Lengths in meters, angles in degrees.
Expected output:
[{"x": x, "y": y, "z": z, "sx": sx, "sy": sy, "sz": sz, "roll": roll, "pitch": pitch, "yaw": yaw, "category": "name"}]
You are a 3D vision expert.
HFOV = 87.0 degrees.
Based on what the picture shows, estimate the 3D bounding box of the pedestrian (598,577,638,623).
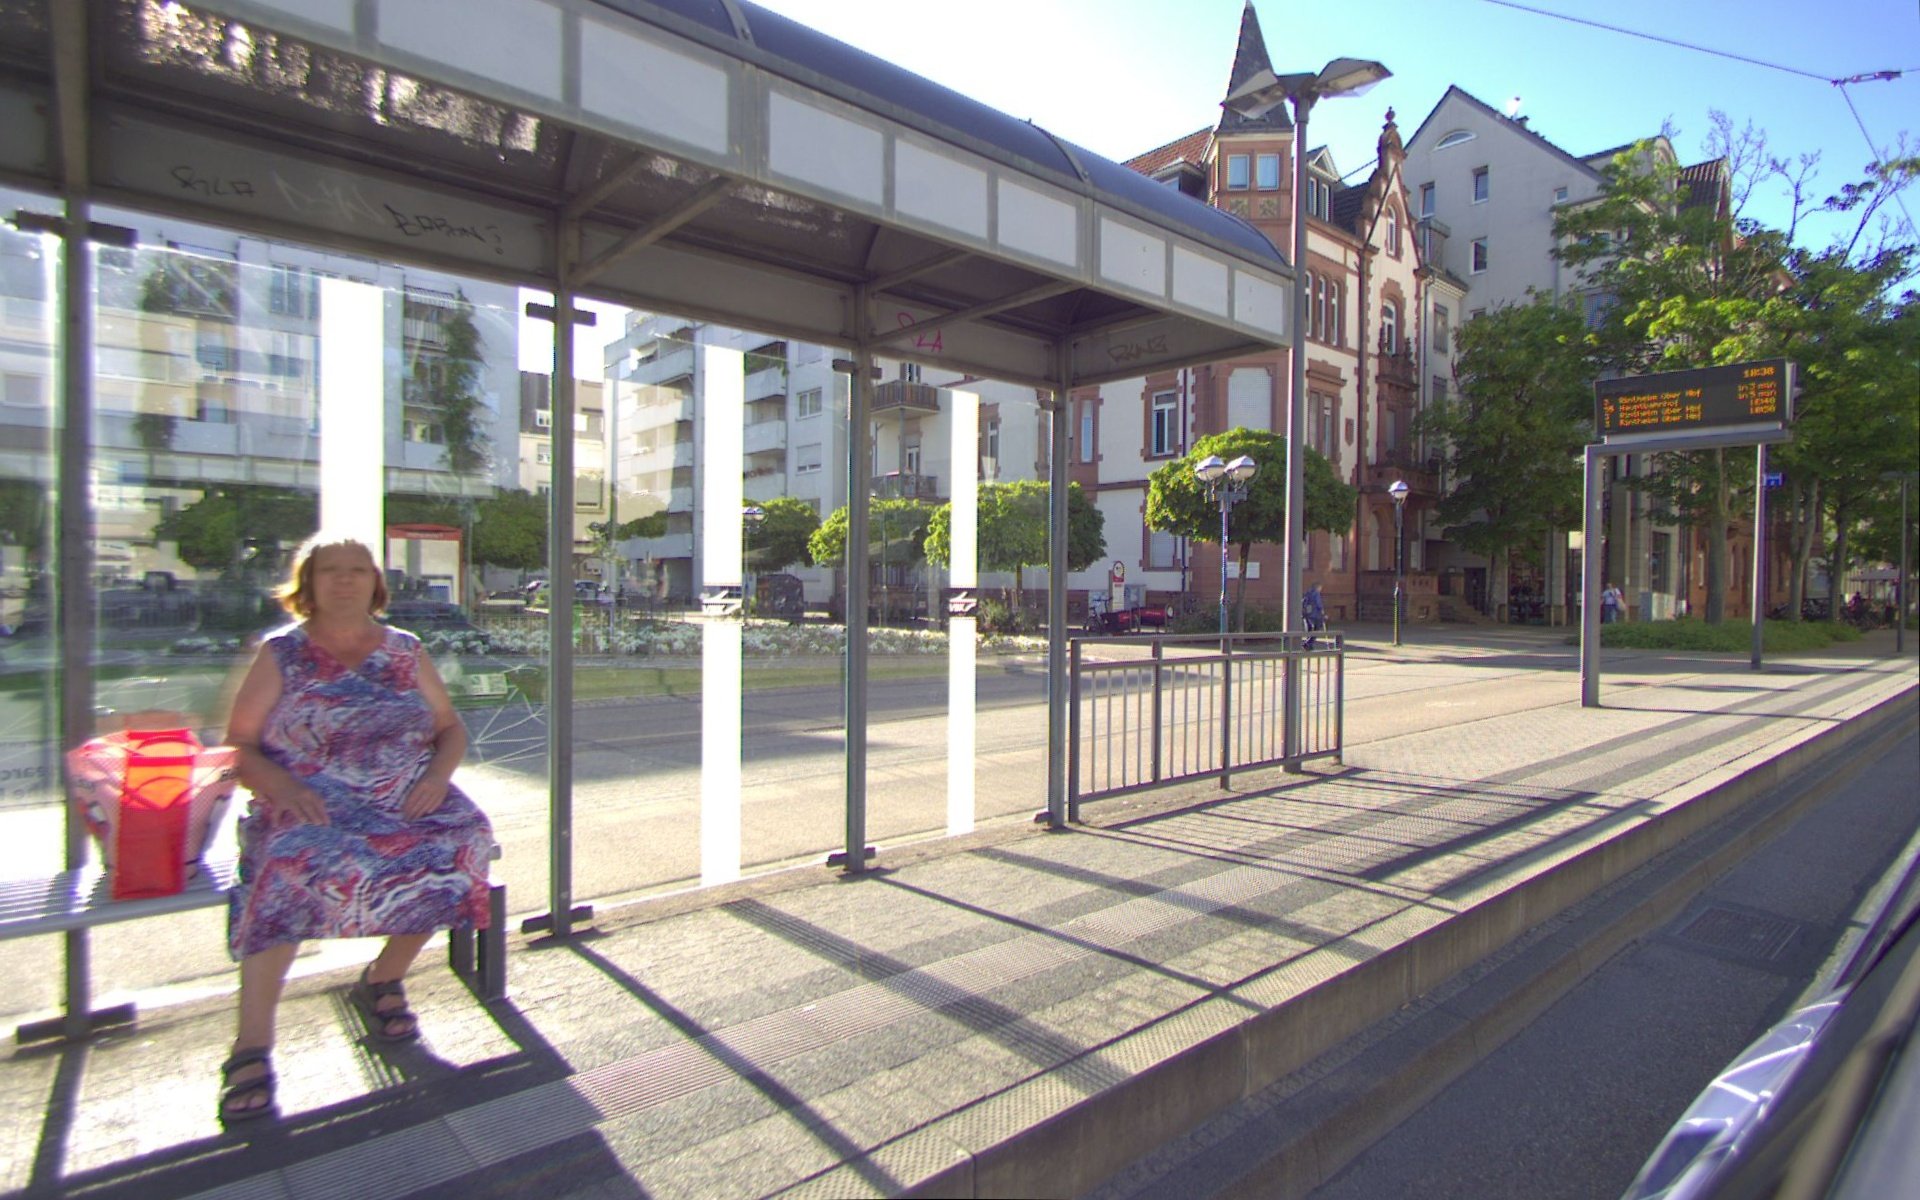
[{"x": -10.968, "y": -0.005, "z": 32.411, "sx": 0.917, "sy": 1.429, "sz": 1.529, "roll": 0, "pitch": 1, "yaw": -30, "category": "pedestrian"}]

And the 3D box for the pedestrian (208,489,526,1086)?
[{"x": -1.680, "y": 0.430, "z": 2.830, "sx": 0.612, "sy": 1.351, "sz": 0.860, "roll": -1, "pitch": -2, "yaw": -40, "category": "pedestrian"}]

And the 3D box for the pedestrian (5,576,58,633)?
[{"x": -21.660, "y": 0.095, "z": 23.616, "sx": 0.737, "sy": 1.287, "sz": 0.725, "roll": 1, "pitch": 1, "yaw": 29, "category": "pedestrian"}]

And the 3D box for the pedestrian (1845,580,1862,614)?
[{"x": 53.566, "y": -0.183, "z": 60.669, "sx": 0.549, "sy": 2.039, "sz": 0.654, "roll": 0, "pitch": 1, "yaw": -38, "category": "pedestrian"}]

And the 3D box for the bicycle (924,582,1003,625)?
[{"x": 0.144, "y": 0.100, "z": 33.912, "sx": 2.864, "sy": 1.389, "sz": 0.745, "roll": 0, "pitch": 1, "yaw": -41, "category": "bicycle"}]

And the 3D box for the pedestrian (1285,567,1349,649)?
[{"x": 7.642, "y": 0.155, "z": 21.668, "sx": 1.064, "sy": 1.689, "sz": 0.944, "roll": 1, "pitch": 1, "yaw": 37, "category": "pedestrian"}]

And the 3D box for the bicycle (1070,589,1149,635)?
[{"x": 4.037, "y": 0.293, "z": 27.144, "sx": 0.786, "sy": 1.081, "sz": 2.768, "roll": 1, "pitch": 3, "yaw": 40, "category": "bicycle"}]

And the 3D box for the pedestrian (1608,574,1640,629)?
[{"x": 21.946, "y": 0.037, "z": 33.435, "sx": 0.740, "sy": 1.757, "sz": 0.864, "roll": 1, "pitch": 1, "yaw": 43, "category": "pedestrian"}]

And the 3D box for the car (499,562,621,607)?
[{"x": -24.095, "y": -0.954, "z": 61.183, "sx": 2.806, "sy": 2.587, "sz": 6.295, "roll": 1, "pitch": 1, "yaw": 44, "category": "car"}]

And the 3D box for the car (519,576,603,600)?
[{"x": -21.765, "y": -0.660, "z": 55.230, "sx": 3.923, "sy": 1.304, "sz": 2.001, "roll": 0, "pitch": 1, "yaw": -34, "category": "car"}]

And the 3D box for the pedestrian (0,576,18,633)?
[{"x": -21.997, "y": 0.102, "z": 22.973, "sx": 0.737, "sy": 1.287, "sz": 0.725, "roll": 1, "pitch": 1, "yaw": 29, "category": "pedestrian"}]

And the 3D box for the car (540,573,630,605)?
[{"x": -18.874, "y": -0.562, "z": 50.950, "sx": 3.923, "sy": 1.536, "sz": 2.001, "roll": 0, "pitch": 1, "yaw": -34, "category": "car"}]
